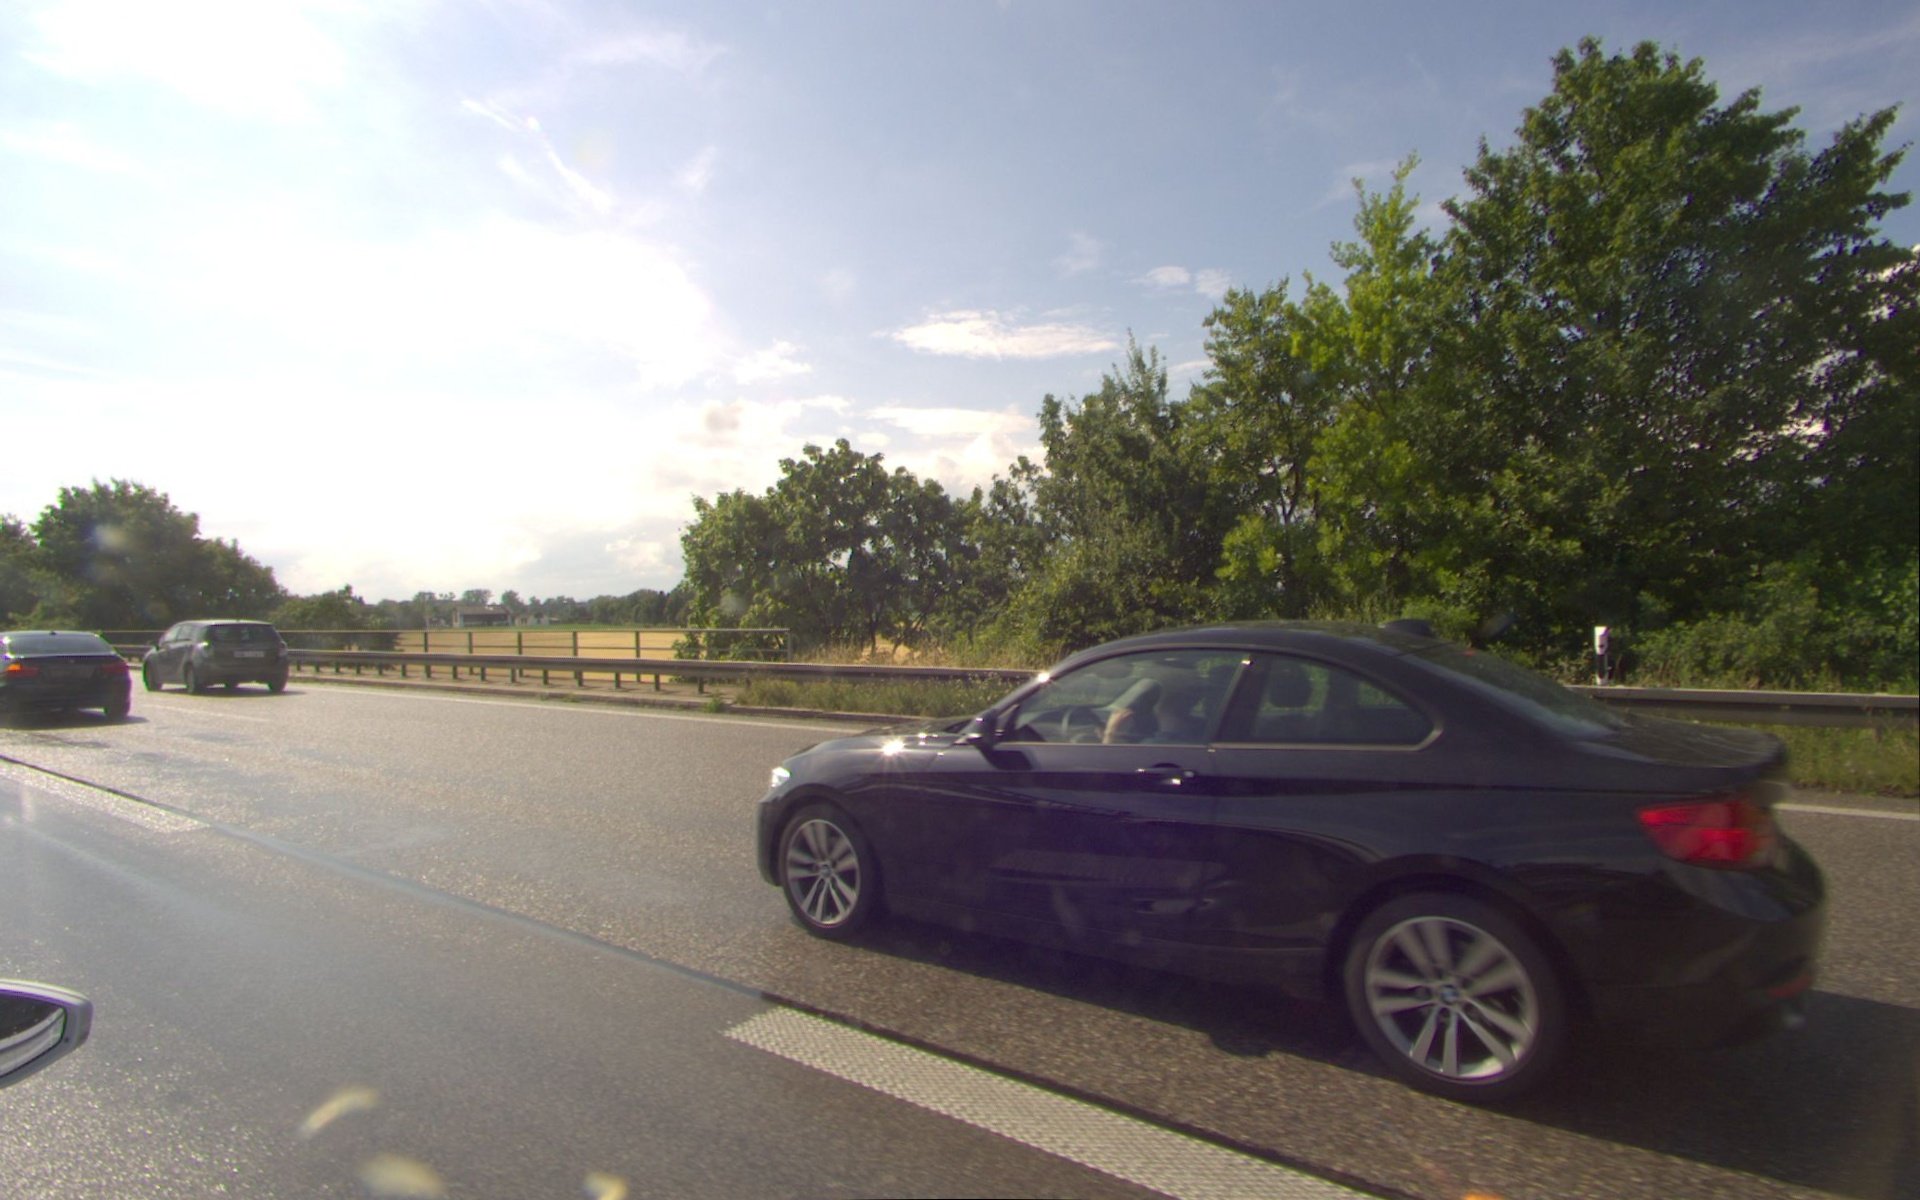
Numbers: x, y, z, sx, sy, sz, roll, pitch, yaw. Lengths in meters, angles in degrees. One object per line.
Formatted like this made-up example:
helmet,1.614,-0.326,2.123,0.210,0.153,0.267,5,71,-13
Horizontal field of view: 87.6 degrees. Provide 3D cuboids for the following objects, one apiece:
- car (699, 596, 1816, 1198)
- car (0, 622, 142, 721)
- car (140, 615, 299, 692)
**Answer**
car,0.942,0.775,4.462,4.200,1.483,1.842,-1,0,36
car,-15.163,1.093,16.473,3.785,1.439,1.735,-1,-1,36
car,-17.128,1.170,23.108,4.328,1.634,1.782,-1,-1,37
